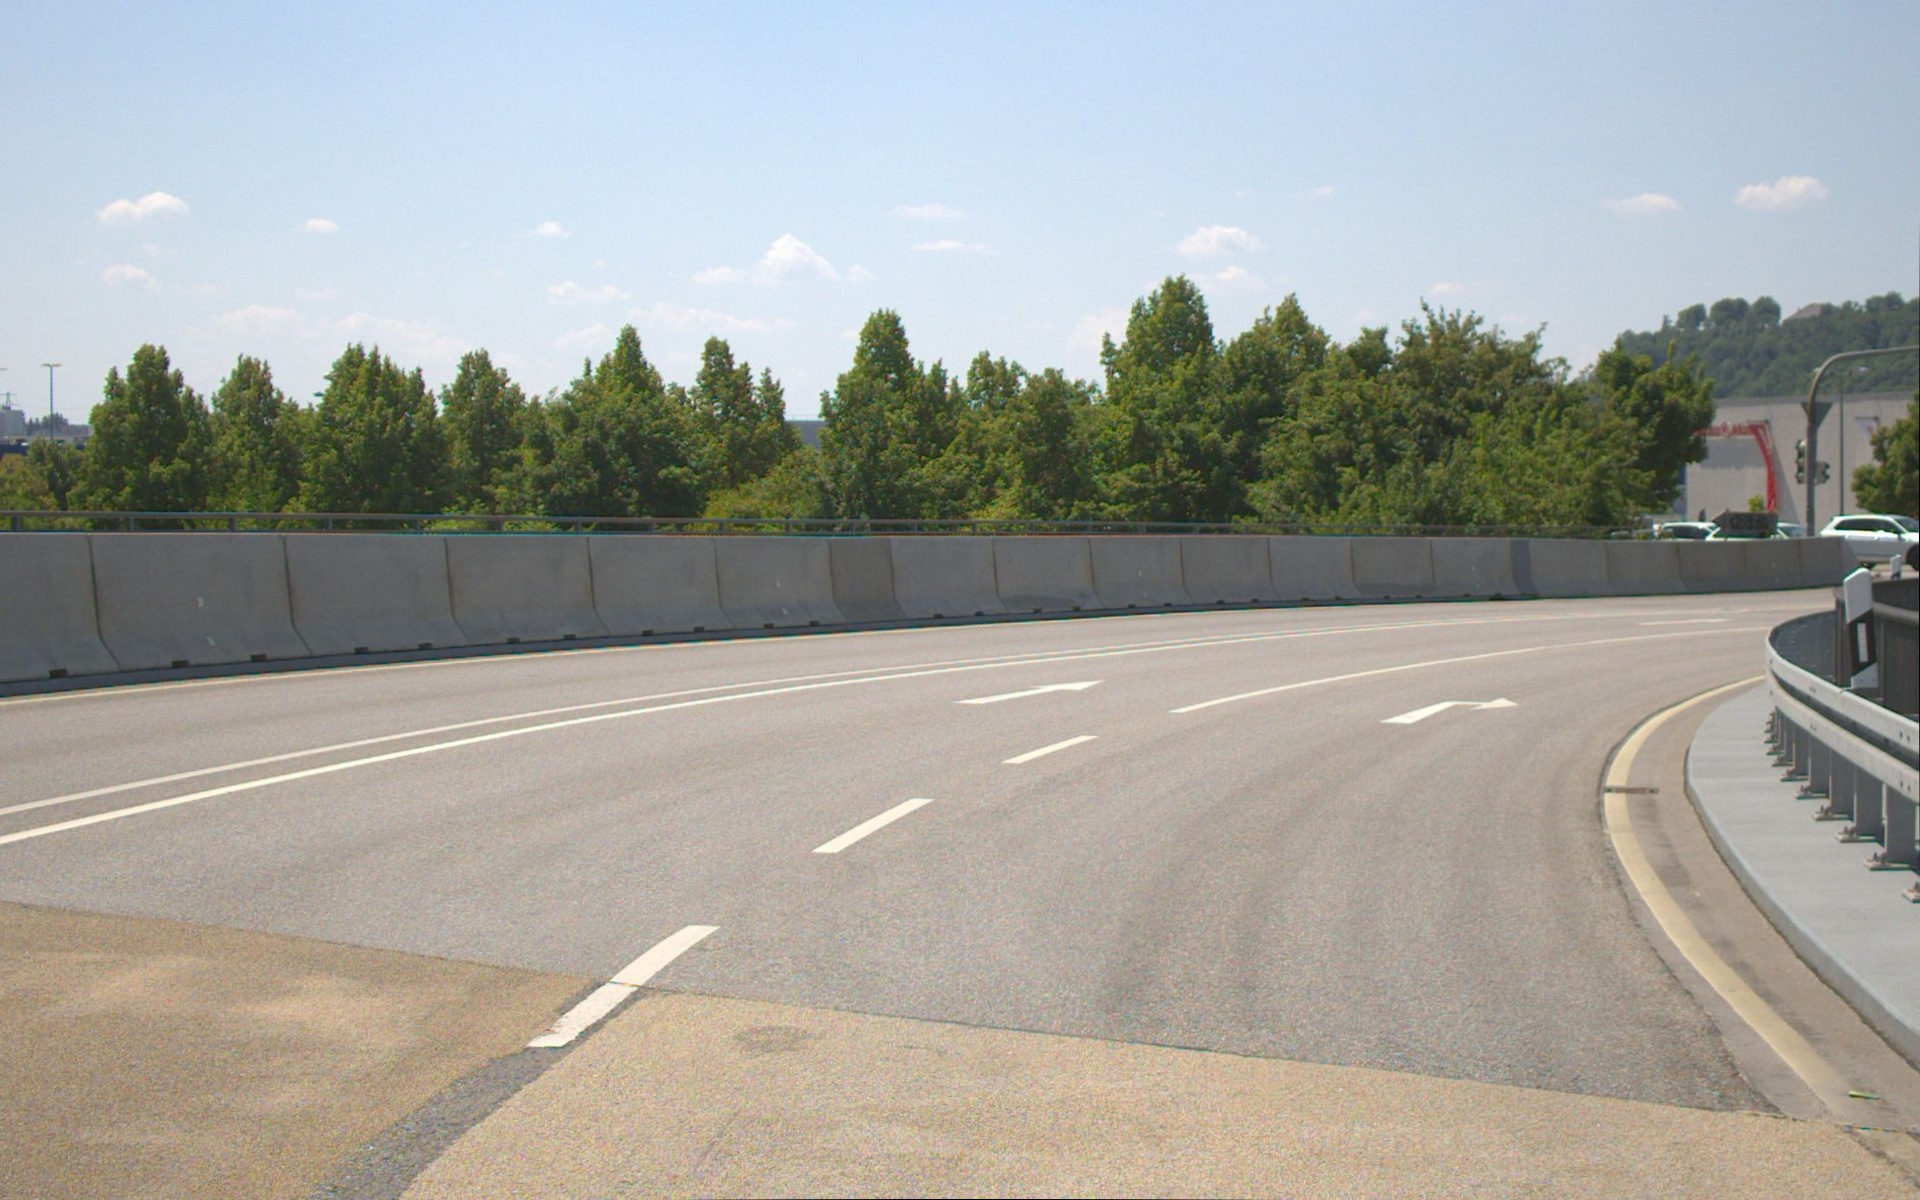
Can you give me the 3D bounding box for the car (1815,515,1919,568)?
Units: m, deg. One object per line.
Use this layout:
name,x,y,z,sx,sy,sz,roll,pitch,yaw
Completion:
car,27.284,-1.688,99.779,1.994,1.500,4.394,0,1,-41
